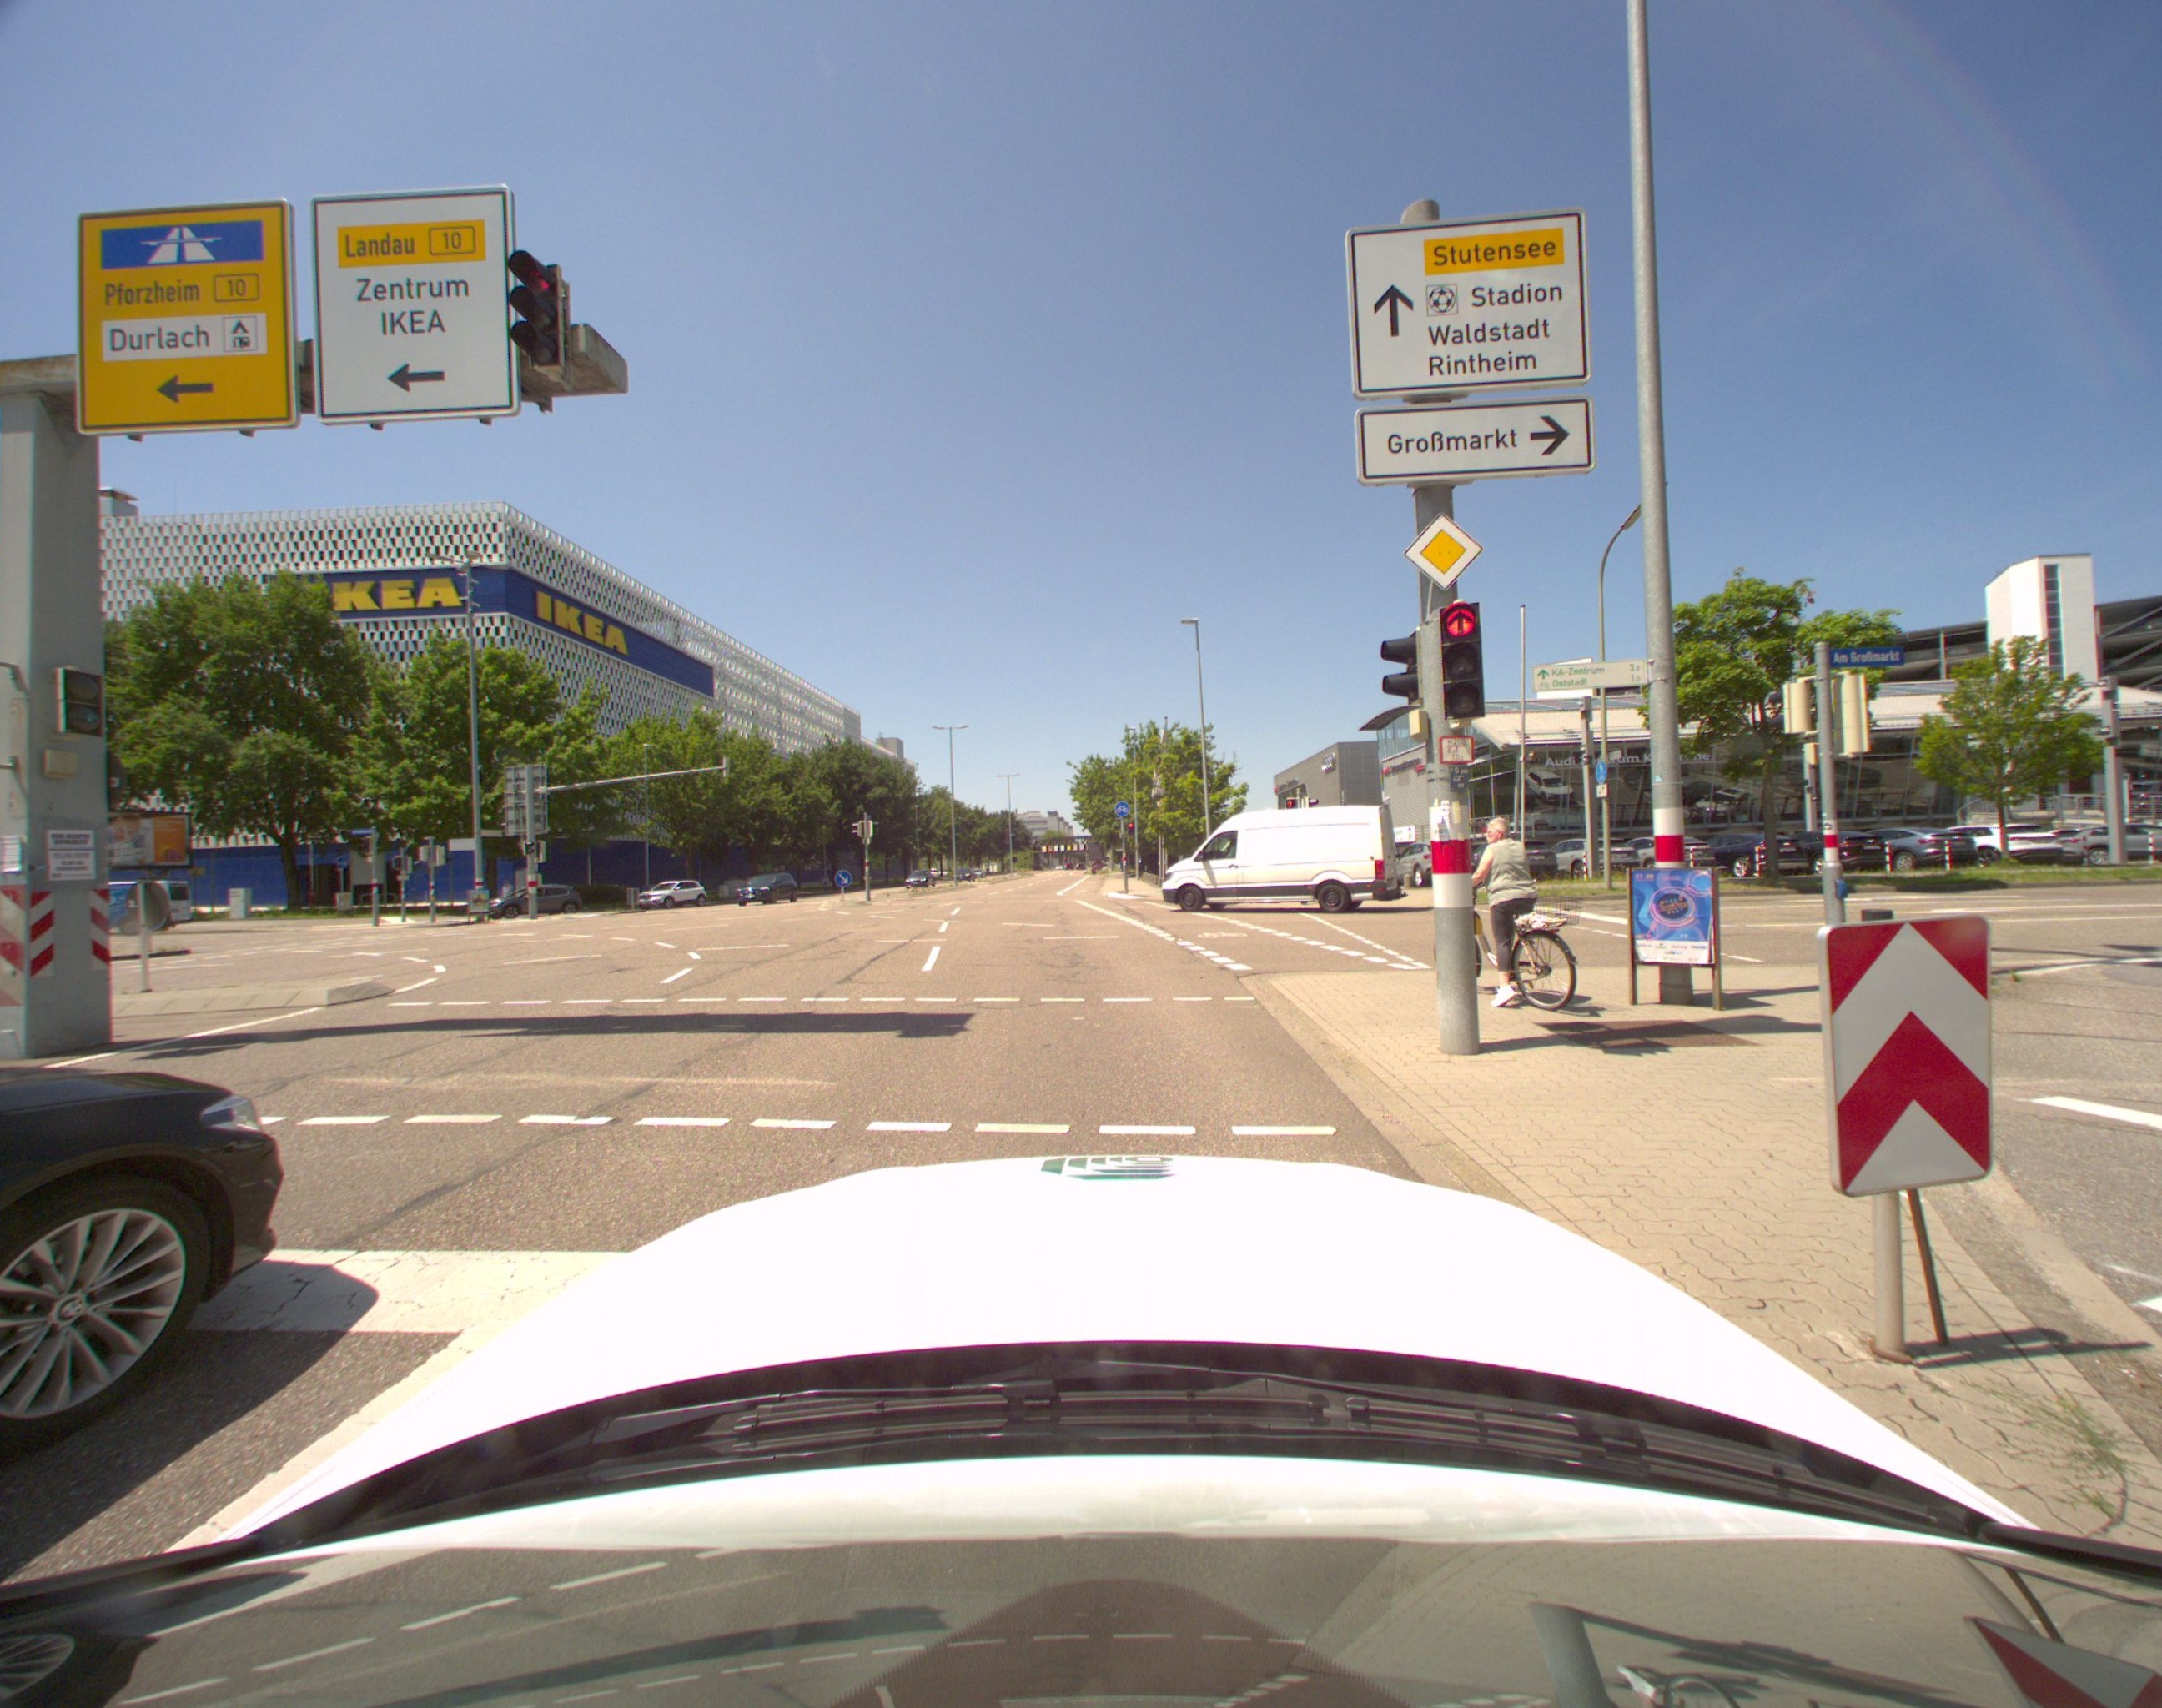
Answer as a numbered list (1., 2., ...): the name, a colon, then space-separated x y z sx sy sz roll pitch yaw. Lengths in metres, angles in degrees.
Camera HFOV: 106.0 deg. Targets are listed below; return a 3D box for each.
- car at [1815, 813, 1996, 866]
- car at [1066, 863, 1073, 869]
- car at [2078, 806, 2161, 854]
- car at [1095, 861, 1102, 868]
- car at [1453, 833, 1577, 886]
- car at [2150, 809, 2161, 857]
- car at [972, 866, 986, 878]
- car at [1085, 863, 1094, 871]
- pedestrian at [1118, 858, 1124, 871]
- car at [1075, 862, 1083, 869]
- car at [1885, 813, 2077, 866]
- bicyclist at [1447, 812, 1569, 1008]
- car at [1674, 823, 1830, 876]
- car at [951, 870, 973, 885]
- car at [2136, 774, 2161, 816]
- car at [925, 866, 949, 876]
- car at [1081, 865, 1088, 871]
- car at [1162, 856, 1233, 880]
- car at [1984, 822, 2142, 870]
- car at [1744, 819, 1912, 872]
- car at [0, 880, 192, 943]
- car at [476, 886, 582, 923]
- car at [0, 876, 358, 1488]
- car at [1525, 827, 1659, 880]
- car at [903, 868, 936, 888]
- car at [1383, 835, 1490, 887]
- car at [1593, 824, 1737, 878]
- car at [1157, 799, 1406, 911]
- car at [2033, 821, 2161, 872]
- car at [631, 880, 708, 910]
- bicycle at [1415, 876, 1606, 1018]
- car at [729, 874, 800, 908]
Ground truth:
1. car: 28.558 -0.471 28.460 1.821 1.639 4.476 -3 0 2
2. car: -3.230 3.309 226.055 1.765 1.728 4.001 -3 -1 2
3. car: 46.724 -1.076 35.511 3.728 2.014 1.866 -2 -1 11
4. car: 4.783 2.849 221.277 1.765 1.728 4.001 -3 -1 2
5. car: 15.088 0.169 28.654 1.986 1.639 4.559 -2 0 2
6. car: 39.430 -0.809 26.866 4.705 1.639 1.844 -3 0 24
7. car: -15.323 2.743 122.053 1.645 1.653 4.160 -2 -1 -2
8. car: 1.113 1.657 105.669 1.133 1.042 2.309 -2 0 2
9. pedestrian: 4.886 1.298 99.859 0.665 1.510 0.736 -2 -1 1
10. car: -0.548 3.096 220.586 1.765 1.728 4.001 -3 -1 2
11. car: 31.235 -0.478 28.502 1.821 1.639 4.476 -3 0 2
12. bicyclist: 4.021 0.501 7.725 0.732 1.749 0.753 -1 0 -3
13. car: 23.224 -0.148 28.461 1.821 1.639 4.476 -3 0 2
14. car: -12.656 2.485 86.819 1.678 1.411 3.666 -3 -1 2
15. car: 54.894 -3.020 39.576 1.989 2.013 3.995 -2 -1 -3
16. car: -26.555 3.166 150.109 3.992 1.810 2.005 0 0 8
17. car: 1.002 3.984 235.213 1.765 1.728 4.001 -3 -1 2
18. car: 8.359 1.017 58.750 4.726 1.457 2.000 -3 0 0
19. car: 40.081 -0.301 33.374 3.720 1.772 1.781 -3 -1 32
20. car: 25.921 -0.271 28.504 1.821 1.639 4.476 -3 0 2
21. car: -36.780 2.087 30.201 4.784 2.008 1.978 -2 -1 -35
22. car: -26.400 2.395 39.025 1.753 1.533 3.778 -3 -1 35
23. car: -3.567 0.825 0.637 1.793 1.466 4.624 -1 0 1
24. car: 17.938 -0.018 28.881 1.986 1.639 4.443 -3 0 2
25. car: -12.904 1.910 65.263 1.725 1.427 3.707 -4 -1 2
26. car: 12.440 0.223 28.830 1.986 1.639 4.270 -2 0 2
27. car: 20.335 -0.106 28.651 1.878 1.639 4.526 -3 0 2
28. car: 5.032 0.094 20.778 5.727 2.534 2.115 -2 -1 29
29. car: 39.147 -0.276 30.802 3.665 1.777 1.759 -3 -1 28
30. car: -23.104 2.298 45.906 1.611 1.457 4.083 -3 -1 11
31. bicycle: 4.050 0.815 7.891 0.784 1.127 1.919 -1 0 -2
32. car: -16.793 1.918 43.481 1.868 1.598 4.498 -3 -1 2
